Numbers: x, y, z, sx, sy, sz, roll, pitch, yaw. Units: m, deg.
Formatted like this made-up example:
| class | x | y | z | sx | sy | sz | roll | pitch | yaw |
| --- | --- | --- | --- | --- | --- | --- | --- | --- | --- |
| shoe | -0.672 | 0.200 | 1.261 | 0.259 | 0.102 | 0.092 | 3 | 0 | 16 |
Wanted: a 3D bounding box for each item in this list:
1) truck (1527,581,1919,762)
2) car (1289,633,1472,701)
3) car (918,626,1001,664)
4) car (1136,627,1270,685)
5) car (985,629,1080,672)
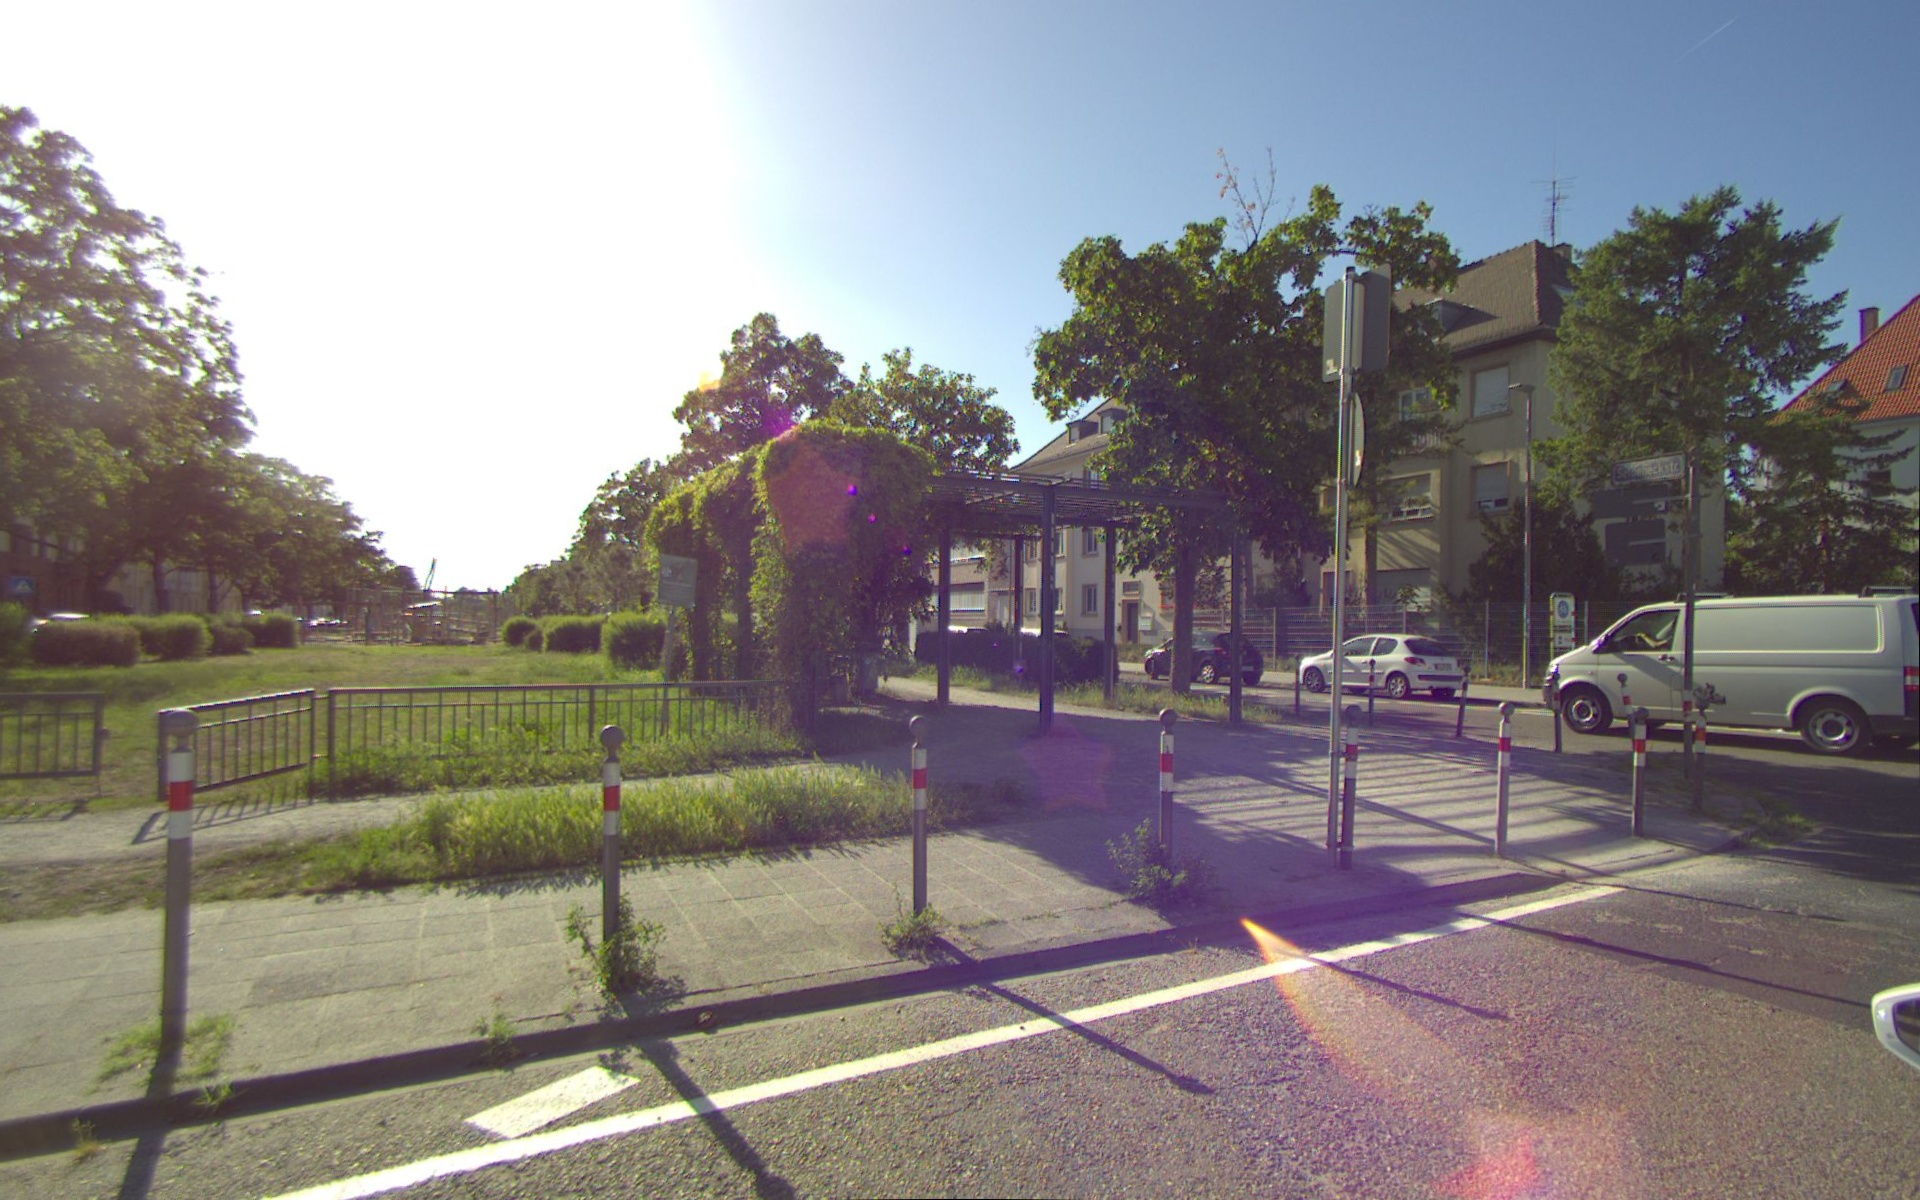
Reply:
| class | x | y | z | sx | sy | sz | roll | pitch | yaw |
| --- | --- | --- | --- | --- | --- | --- | --- | --- | --- |
| truck | 10.799 | 0.872 | 13.957 | 1.974 | 2.063 | 4.841 | 1 | -2 | -27 |
| car | 9.661 | 1.507 | 23.340 | 1.685 | 1.416 | 3.751 | 2 | -2 | -27 |
| car | -0.068 | 1.912 | 43.280 | 1.781 | 1.514 | 3.967 | 3 | -2 | -31 |
| car | 6.829 | 1.565 | 28.624 | 1.655 | 1.514 | 3.801 | 2 | -2 | -26 |
| car | 2.661 | 1.862 | 37.746 | 1.778 | 1.514 | 3.974 | 2 | -2 | -26 |
